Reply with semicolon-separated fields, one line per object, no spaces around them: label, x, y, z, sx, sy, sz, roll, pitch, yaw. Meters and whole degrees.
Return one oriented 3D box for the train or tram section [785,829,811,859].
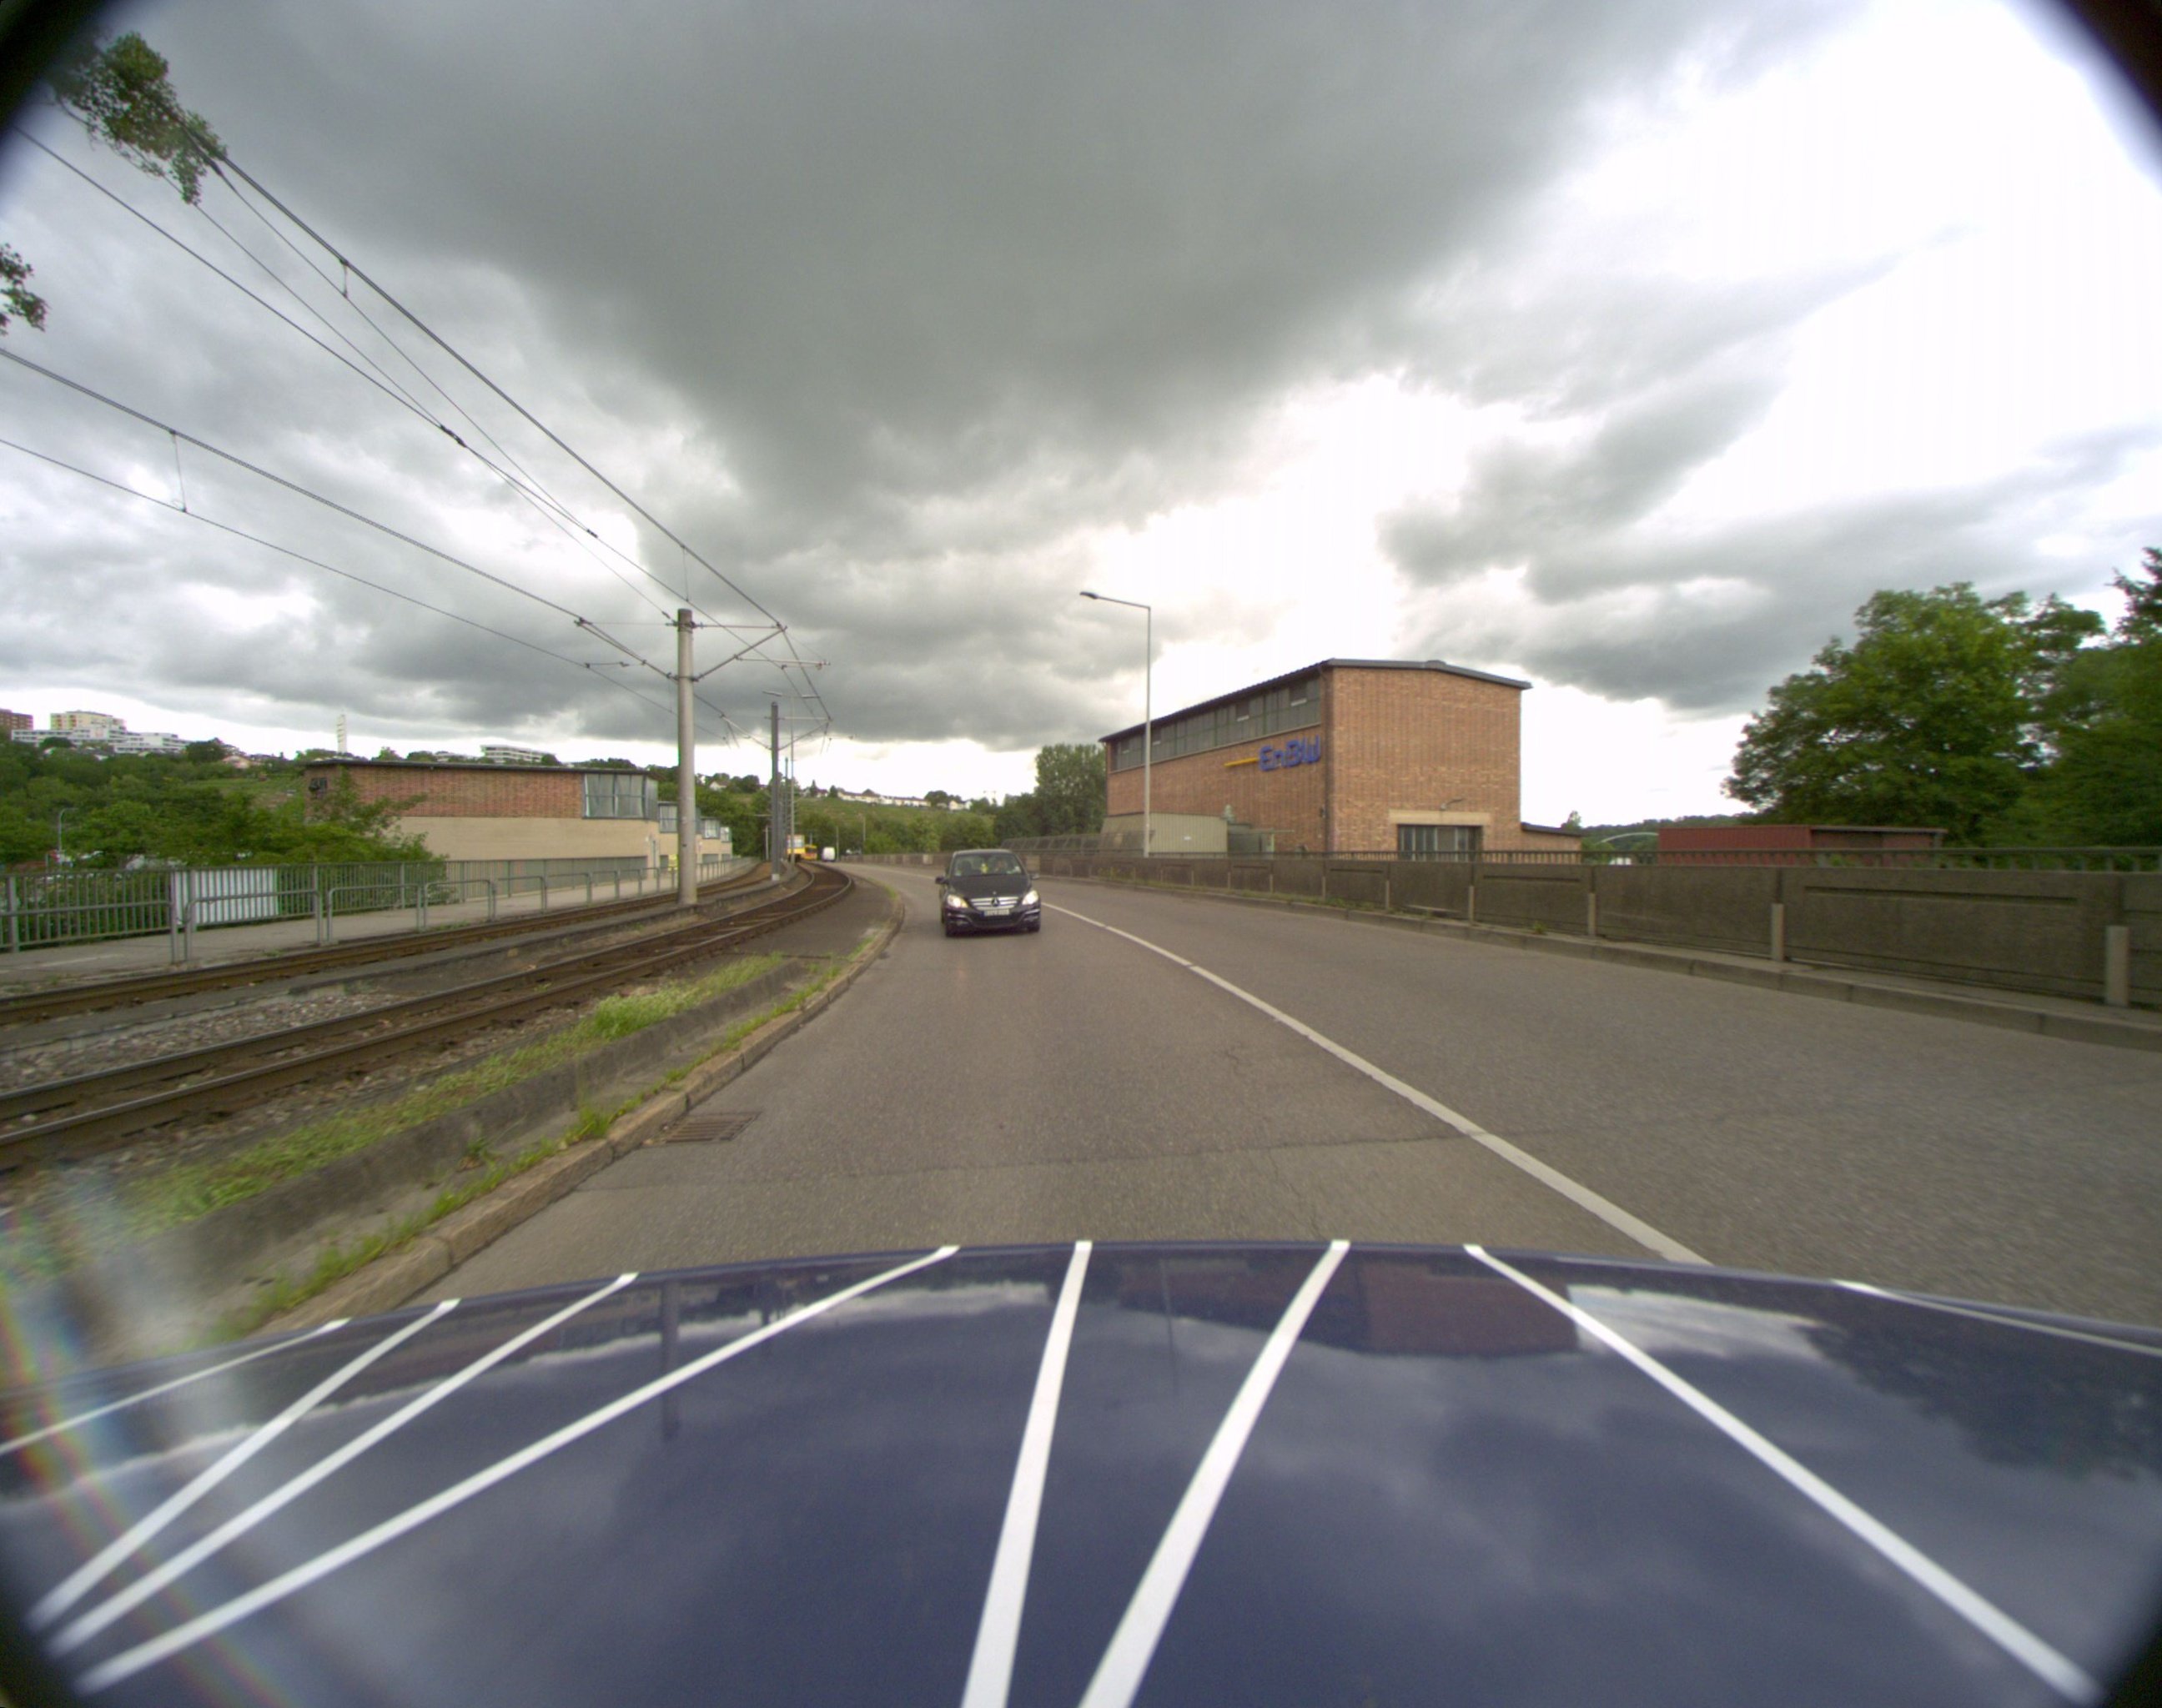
train or tram section;-39.154;-1.372;105.360;3.035;3.896;9.425;-1;1;-19

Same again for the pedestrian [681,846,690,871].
pedestrian;-26.778;0.315;51.403;0.512;1.655;0.351;-1;1;-26

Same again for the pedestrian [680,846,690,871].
pedestrian;-26.596;0.309;51.019;0.512;1.655;0.351;-1;1;-26

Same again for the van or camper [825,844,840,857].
van or camper;-45.640;-0.635;139.373;2.160;2.461;4.701;-2;1;-23

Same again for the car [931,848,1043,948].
car;-1.869;0.748;15.175;1.862;1.612;3.997;-3;1;-7
